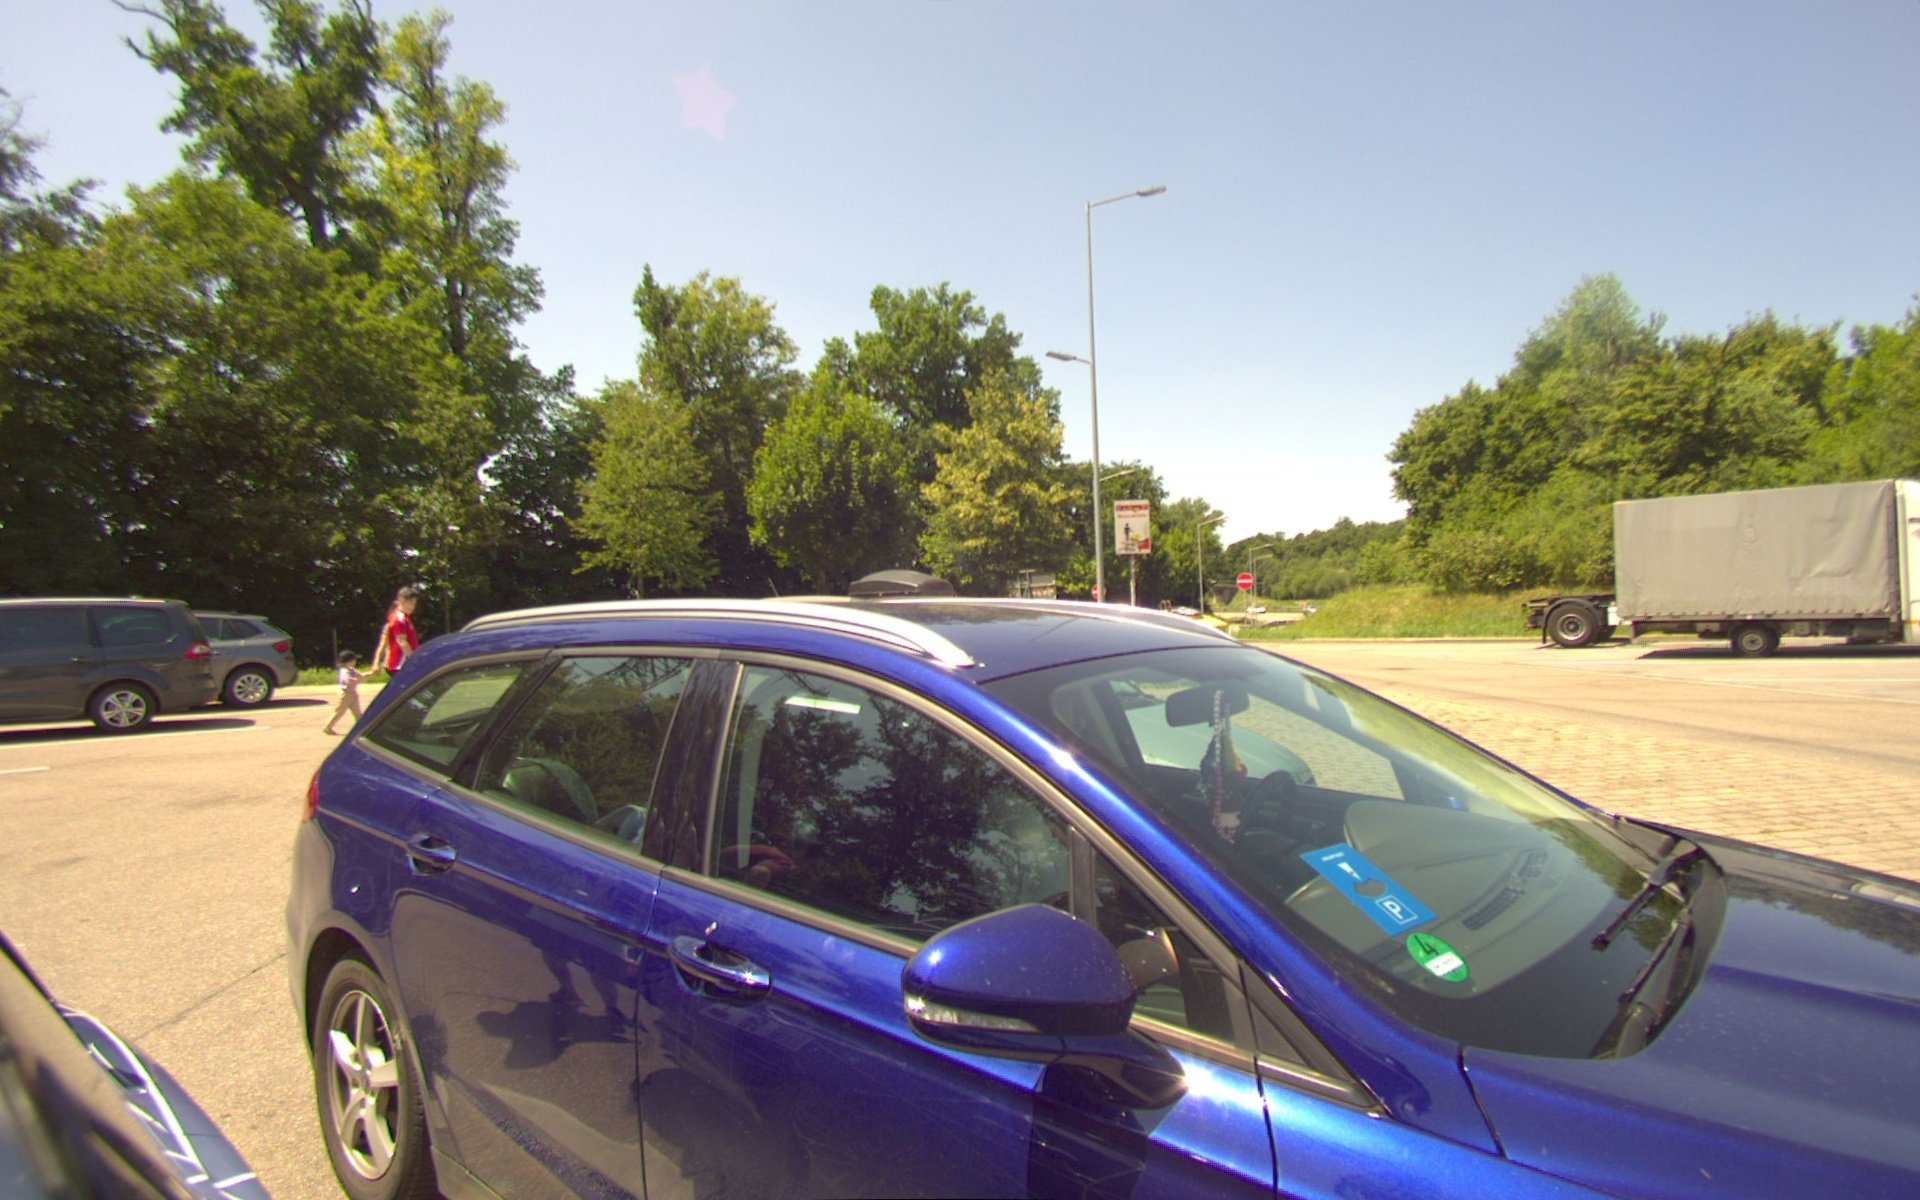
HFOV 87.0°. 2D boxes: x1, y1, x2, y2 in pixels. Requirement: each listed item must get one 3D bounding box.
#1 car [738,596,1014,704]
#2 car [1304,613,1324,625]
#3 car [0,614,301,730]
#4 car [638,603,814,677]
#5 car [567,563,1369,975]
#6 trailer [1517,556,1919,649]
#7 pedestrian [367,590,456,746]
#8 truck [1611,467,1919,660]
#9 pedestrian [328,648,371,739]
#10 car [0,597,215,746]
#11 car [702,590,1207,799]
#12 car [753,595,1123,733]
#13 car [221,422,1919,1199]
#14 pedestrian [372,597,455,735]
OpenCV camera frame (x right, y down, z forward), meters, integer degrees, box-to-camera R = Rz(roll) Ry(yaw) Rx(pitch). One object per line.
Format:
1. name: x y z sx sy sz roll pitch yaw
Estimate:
1. car: -1.477 0.826 16.858 4.485 1.562 1.756 -3 -1 36
2. car: 56.490 3.010 161.482 1.852 1.796 3.996 -1 0 3
3. car: -12.597 1.002 15.465 1.687 1.515 3.943 -1 0 43
4. car: -5.935 0.946 26.234 1.990 1.725 4.575 -1 0 27
5. car: -0.258 0.692 5.837 4.490 1.511 1.754 -3 -1 40
6. trailer: 17.253 0.127 23.394 7.295 1.701 2.235 -4 -1 43
7. pedestrian: -6.416 0.768 11.872 0.819 1.746 0.678 -1 -1 -21
8. truck: 16.827 -0.654 18.966 7.295 3.259 2.709 -4 -1 43
9. pedestrian: -7.469 1.132 12.388 0.427 1.052 0.441 -1 -1 -28
10. car: -11.942 0.857 12.301 4.553 1.725 1.741 0 -1 -41
11. car: -0.245 0.748 9.212 4.490 1.437 1.754 -3 -1 40
12. car: -0.386 0.774 12.759 4.485 1.437 1.756 -3 -1 36
13. car: 0.254 0.659 2.139 4.490 1.502 1.851 -3 0 40
14. pedestrian: -6.976 0.813 12.916 0.820 1.676 0.677 0 -1 -39
